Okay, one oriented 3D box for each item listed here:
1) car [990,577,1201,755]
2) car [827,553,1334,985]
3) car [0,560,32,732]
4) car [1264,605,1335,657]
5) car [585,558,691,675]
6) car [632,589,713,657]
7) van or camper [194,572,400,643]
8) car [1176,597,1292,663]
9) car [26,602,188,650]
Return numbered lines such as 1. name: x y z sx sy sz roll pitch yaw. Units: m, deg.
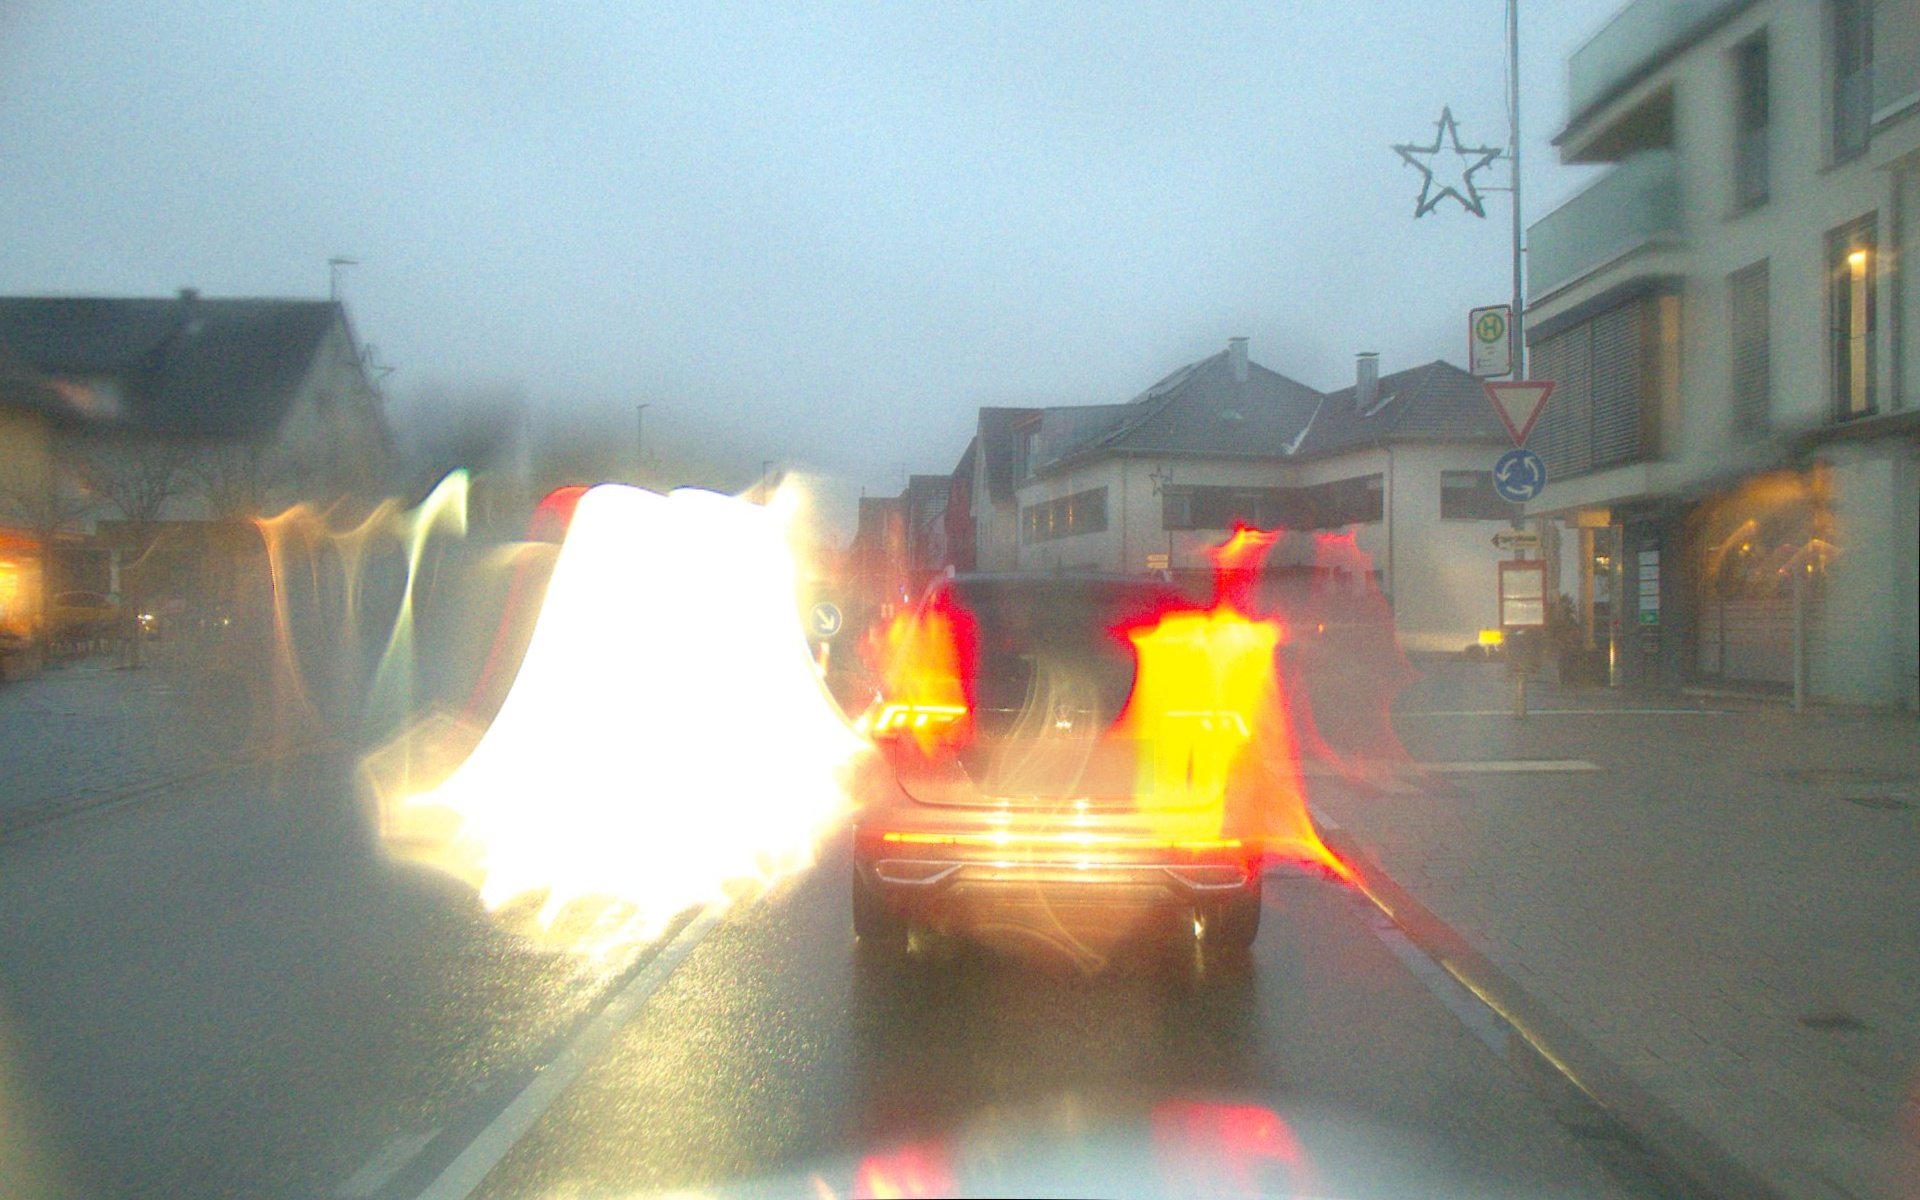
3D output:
1. car: 1.188 0.552 16.036 1.648 1.478 3.999 1 0 -1
2. car: 0.447 0.644 8.552 1.924 1.622 4.312 2 0 -1
3. car: -12.561 0.518 20.215 2.014 1.959 4.019 0 0 -28
4. car: 10.116 0.923 49.149 1.951 1.443 4.003 -1 -1 13
5. car: -6.763 0.345 34.750 1.958 2.242 4.405 2 -1 -11
6. car: -9.399 0.791 54.347 1.953 2.049 3.998 2 -2 -1
7. van or camper: -19.261 0.205 48.119 5.412 1.989 2.002 0 0 13
8. car: 6.440 0.669 38.570 1.952 1.416 4.001 -1 0 20
9. car: -25.424 0.763 49.373 3.909 1.388 1.725 0 0 -5
